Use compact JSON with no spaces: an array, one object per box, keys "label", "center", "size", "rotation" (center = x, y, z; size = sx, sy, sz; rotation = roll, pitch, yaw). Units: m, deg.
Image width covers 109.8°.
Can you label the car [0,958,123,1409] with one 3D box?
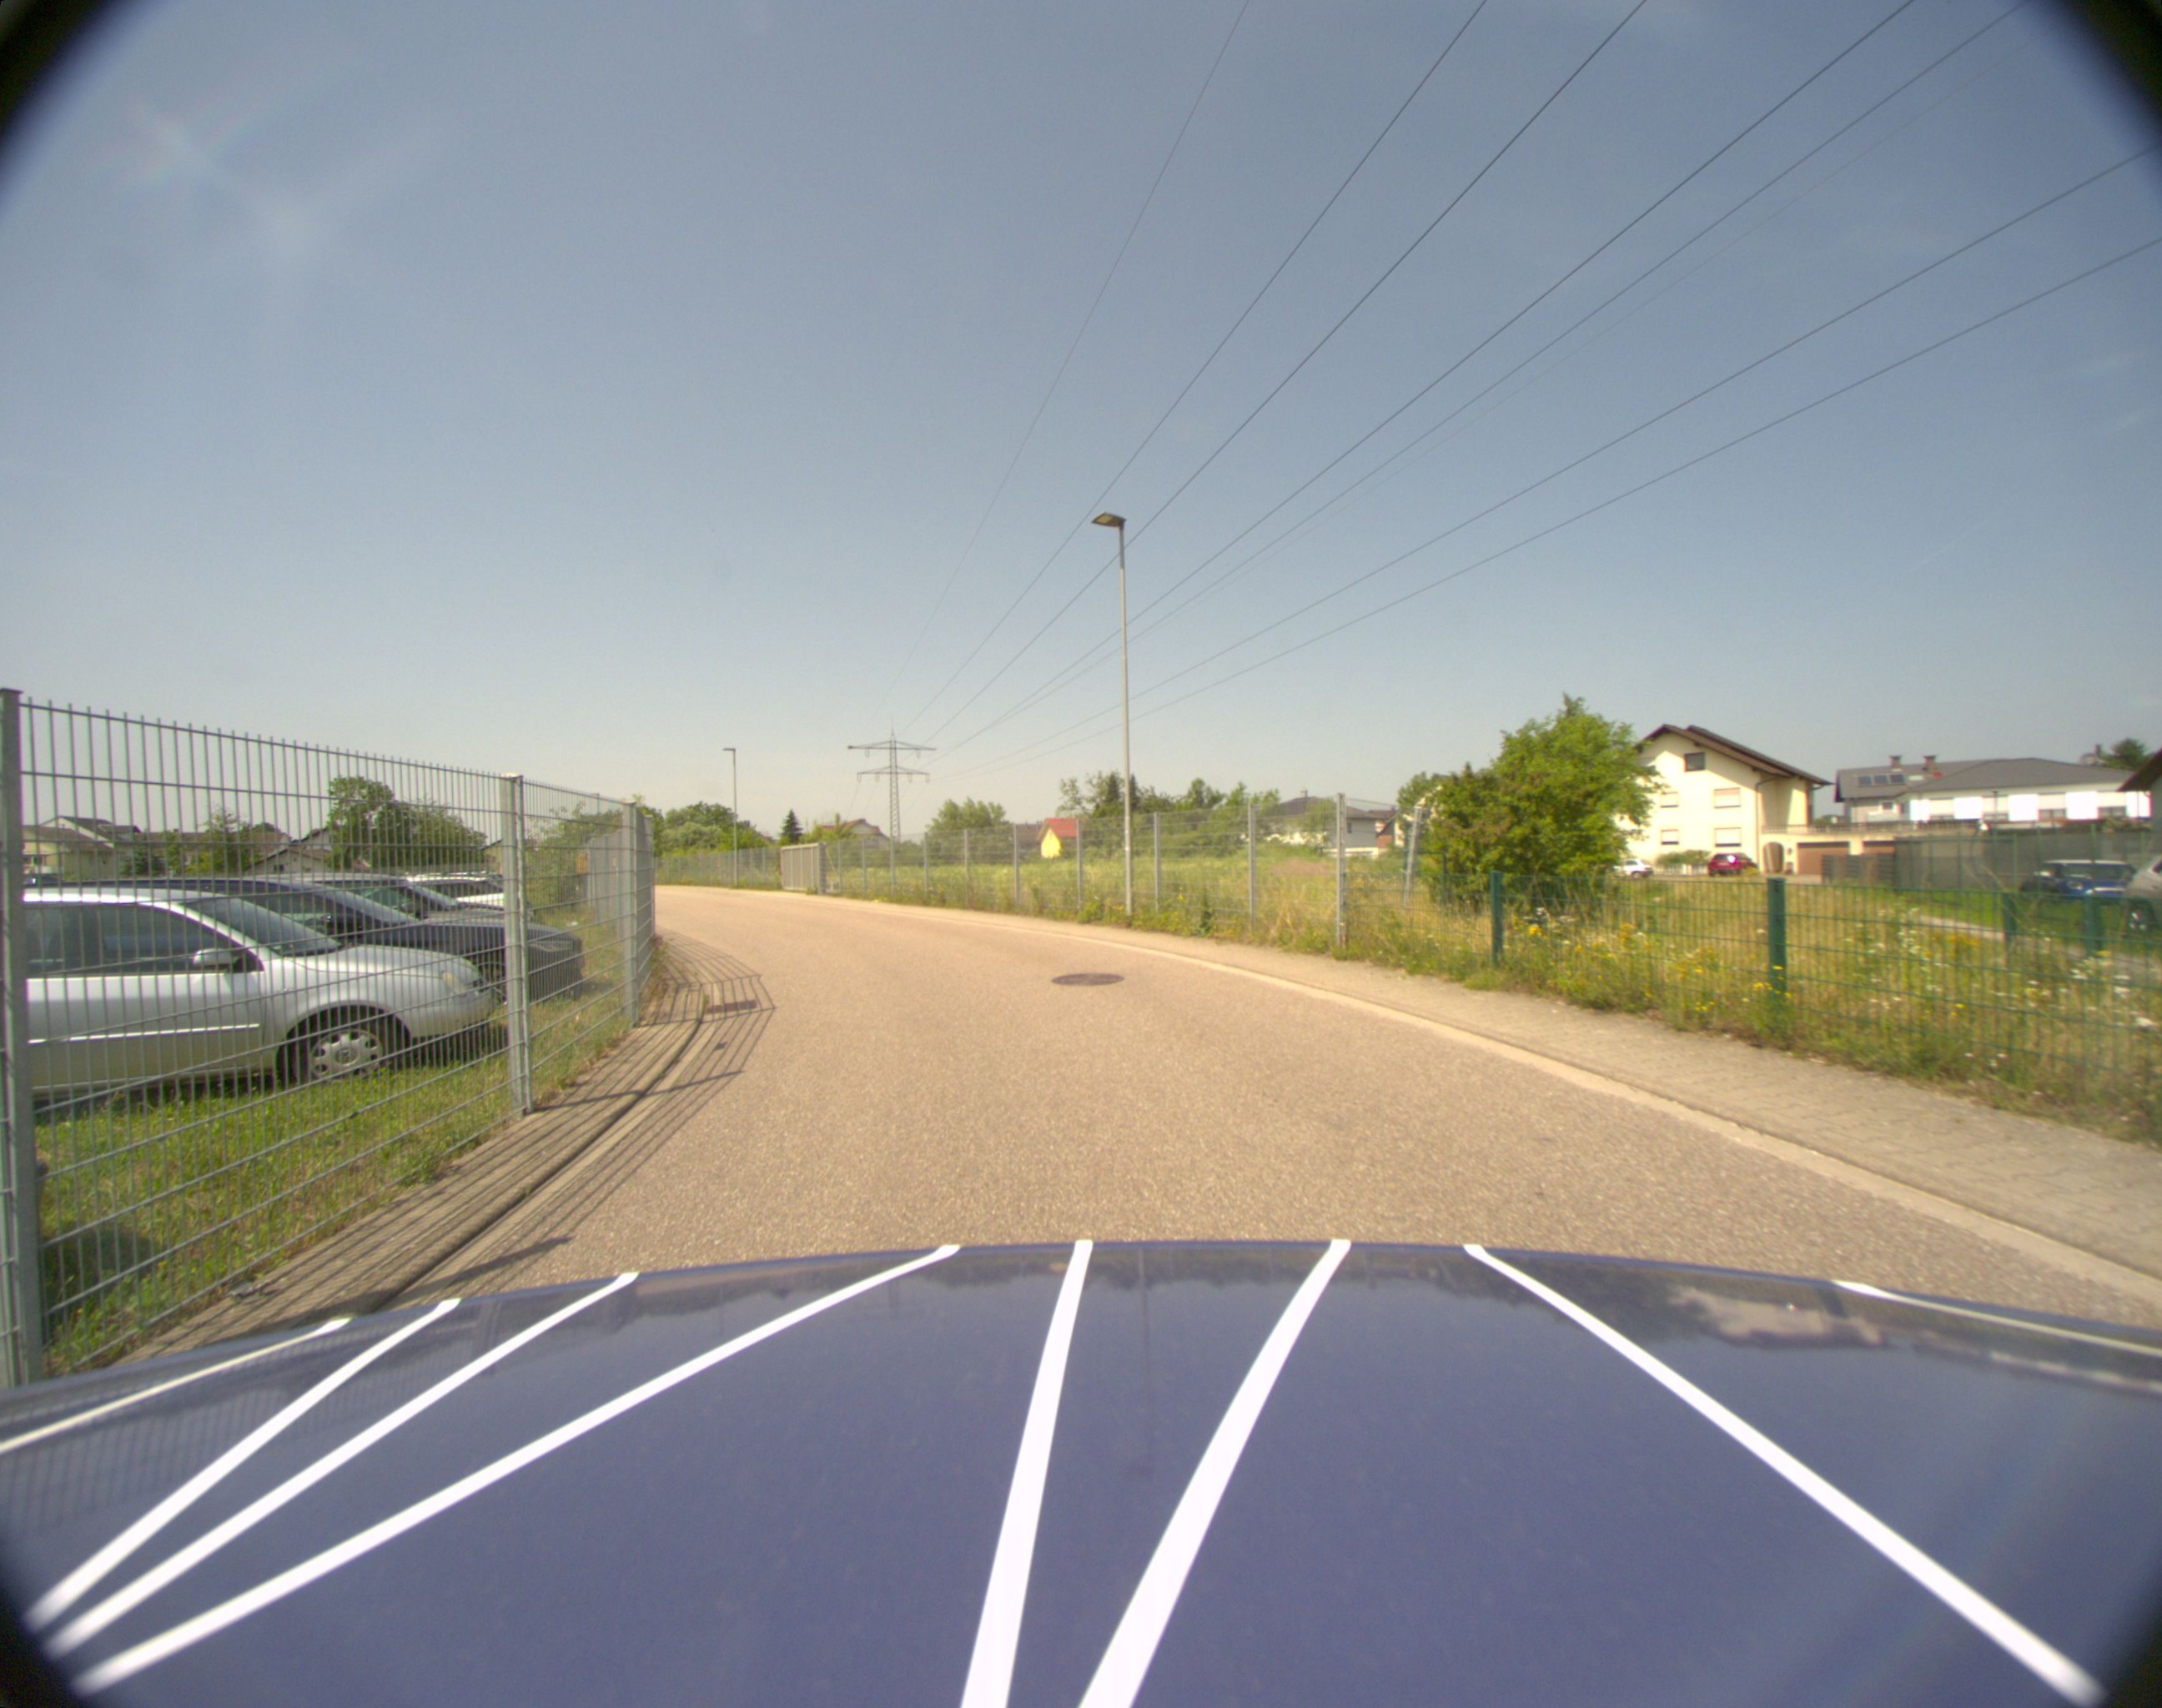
[{"label":"car","center":[-5.611,1.117,1.855],"size":[4.355,1.387,1.616],"rotation":[-1,0,-1]}]

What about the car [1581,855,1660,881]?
[{"label":"car","center":[37.261,0.946,52.564],"size":[1.868,1.674,4.075],"rotation":[-1,0,-38]}]

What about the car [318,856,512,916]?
[{"label":"car","center":[-17.331,0.773,20.034],"size":[3.681,1.346,1.736],"rotation":[-2,1,-37]}]

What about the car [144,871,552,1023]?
[{"label":"car","center":[-9.154,1.037,9.923],"size":[3.557,1.493,1.707],"rotation":[-2,1,-39]}]

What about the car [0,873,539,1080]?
[{"label":"car","center":[-7.996,1.000,7.221],"size":[4.559,1.466,1.820],"rotation":[-1,0,-35]}]

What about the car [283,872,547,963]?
[{"label":"car","center":[-12.286,1.095,14.295],"size":[3.542,1.381,1.632],"rotation":[-1,0,-38]}]

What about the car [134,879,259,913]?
[{"label":"car","center":[-41.817,1.948,36.004],"size":[1.607,1.428,3.781],"rotation":[-2,-1,38]}]

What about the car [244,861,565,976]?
[{"label":"car","center":[-10.722,0.915,12.395],"size":[3.667,1.469,1.747],"rotation":[-1,2,-39]}]

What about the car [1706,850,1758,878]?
[{"label":"car","center":[43.611,0.655,50.895],"size":[4.143,1.718,1.862],"rotation":[-2,1,-38]}]

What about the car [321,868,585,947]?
[{"label":"car","center":[-13.403,1.057,16.519],"size":[4.205,1.346,1.718],"rotation":[-2,1,-39]}]

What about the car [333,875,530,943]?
[{"label":"car","center":[-18.942,1.547,22.384],"size":[4.184,1.466,1.633],"rotation":[-5,3,-39]}]

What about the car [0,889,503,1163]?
[{"label":"car","center":[-6.250,1.052,5.254],"size":[3.481,1.414,1.632],"rotation":[-2,1,-35]}]

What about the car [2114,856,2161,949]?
[{"label":"car","center":[19.106,0.854,11.993],"size":[2.036,1.553,4.447],"rotation":[-1,1,36]}]

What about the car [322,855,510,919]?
[{"label":"car","center":[-15.996,0.745,18.443],"size":[3.284,1.346,1.524],"rotation":[-2,1,-40]}]

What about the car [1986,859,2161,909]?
[{"label":"car","center":[26.429,0.743,20.360],"size":[1.862,1.101,4.012],"rotation":[-1,1,36]}]
